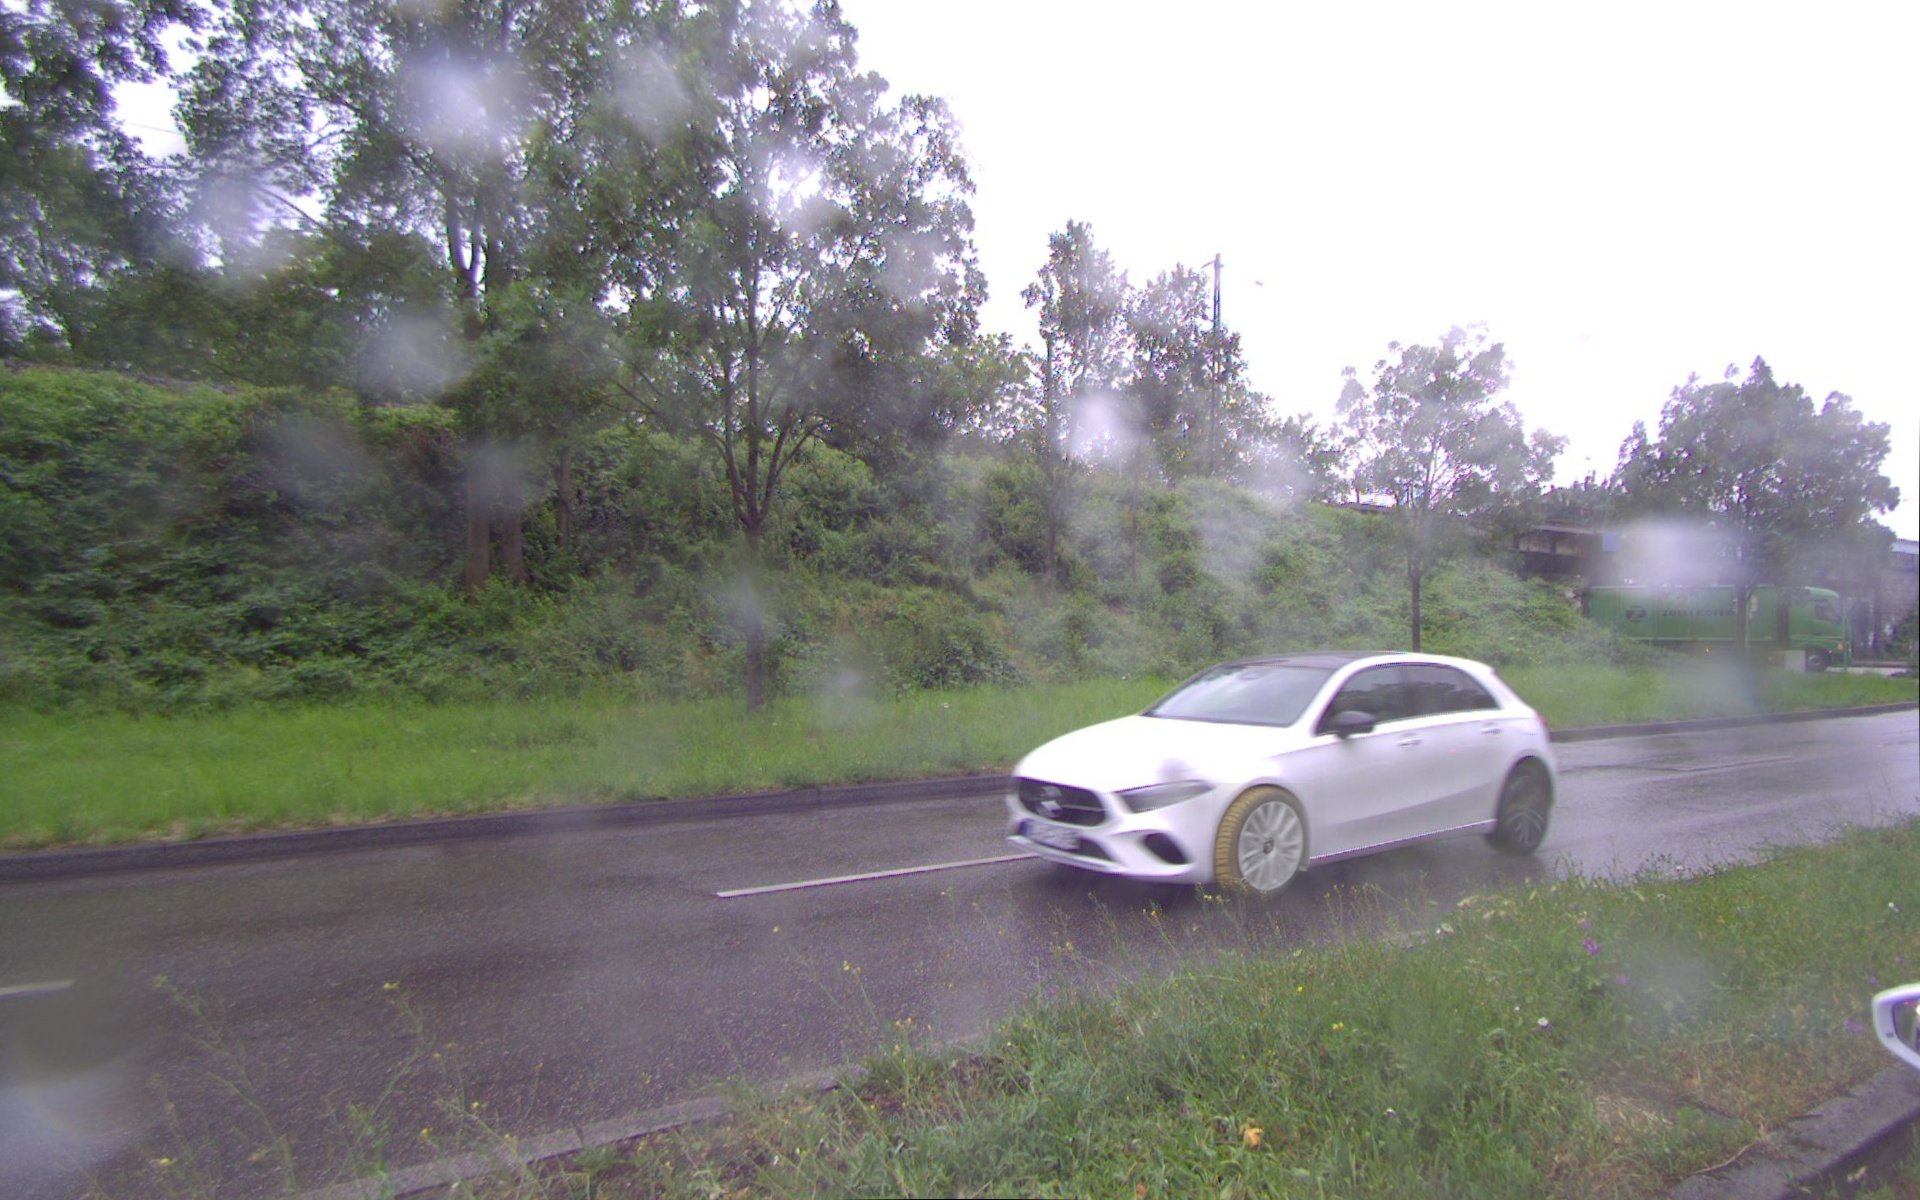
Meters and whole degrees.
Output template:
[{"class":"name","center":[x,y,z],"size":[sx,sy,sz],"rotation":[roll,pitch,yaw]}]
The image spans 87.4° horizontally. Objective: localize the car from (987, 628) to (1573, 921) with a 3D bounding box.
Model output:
[{"class":"car","center":[2.325,1.034,7.085],"size":[4.001,1.539,1.726],"rotation":[2,-4,-31]}]

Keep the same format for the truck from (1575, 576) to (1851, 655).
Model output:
[{"class":"truck","center":[34.294,0.677,46.329],"size":[9.872,3.416,2.345],"rotation":[0,-1,25]}]
